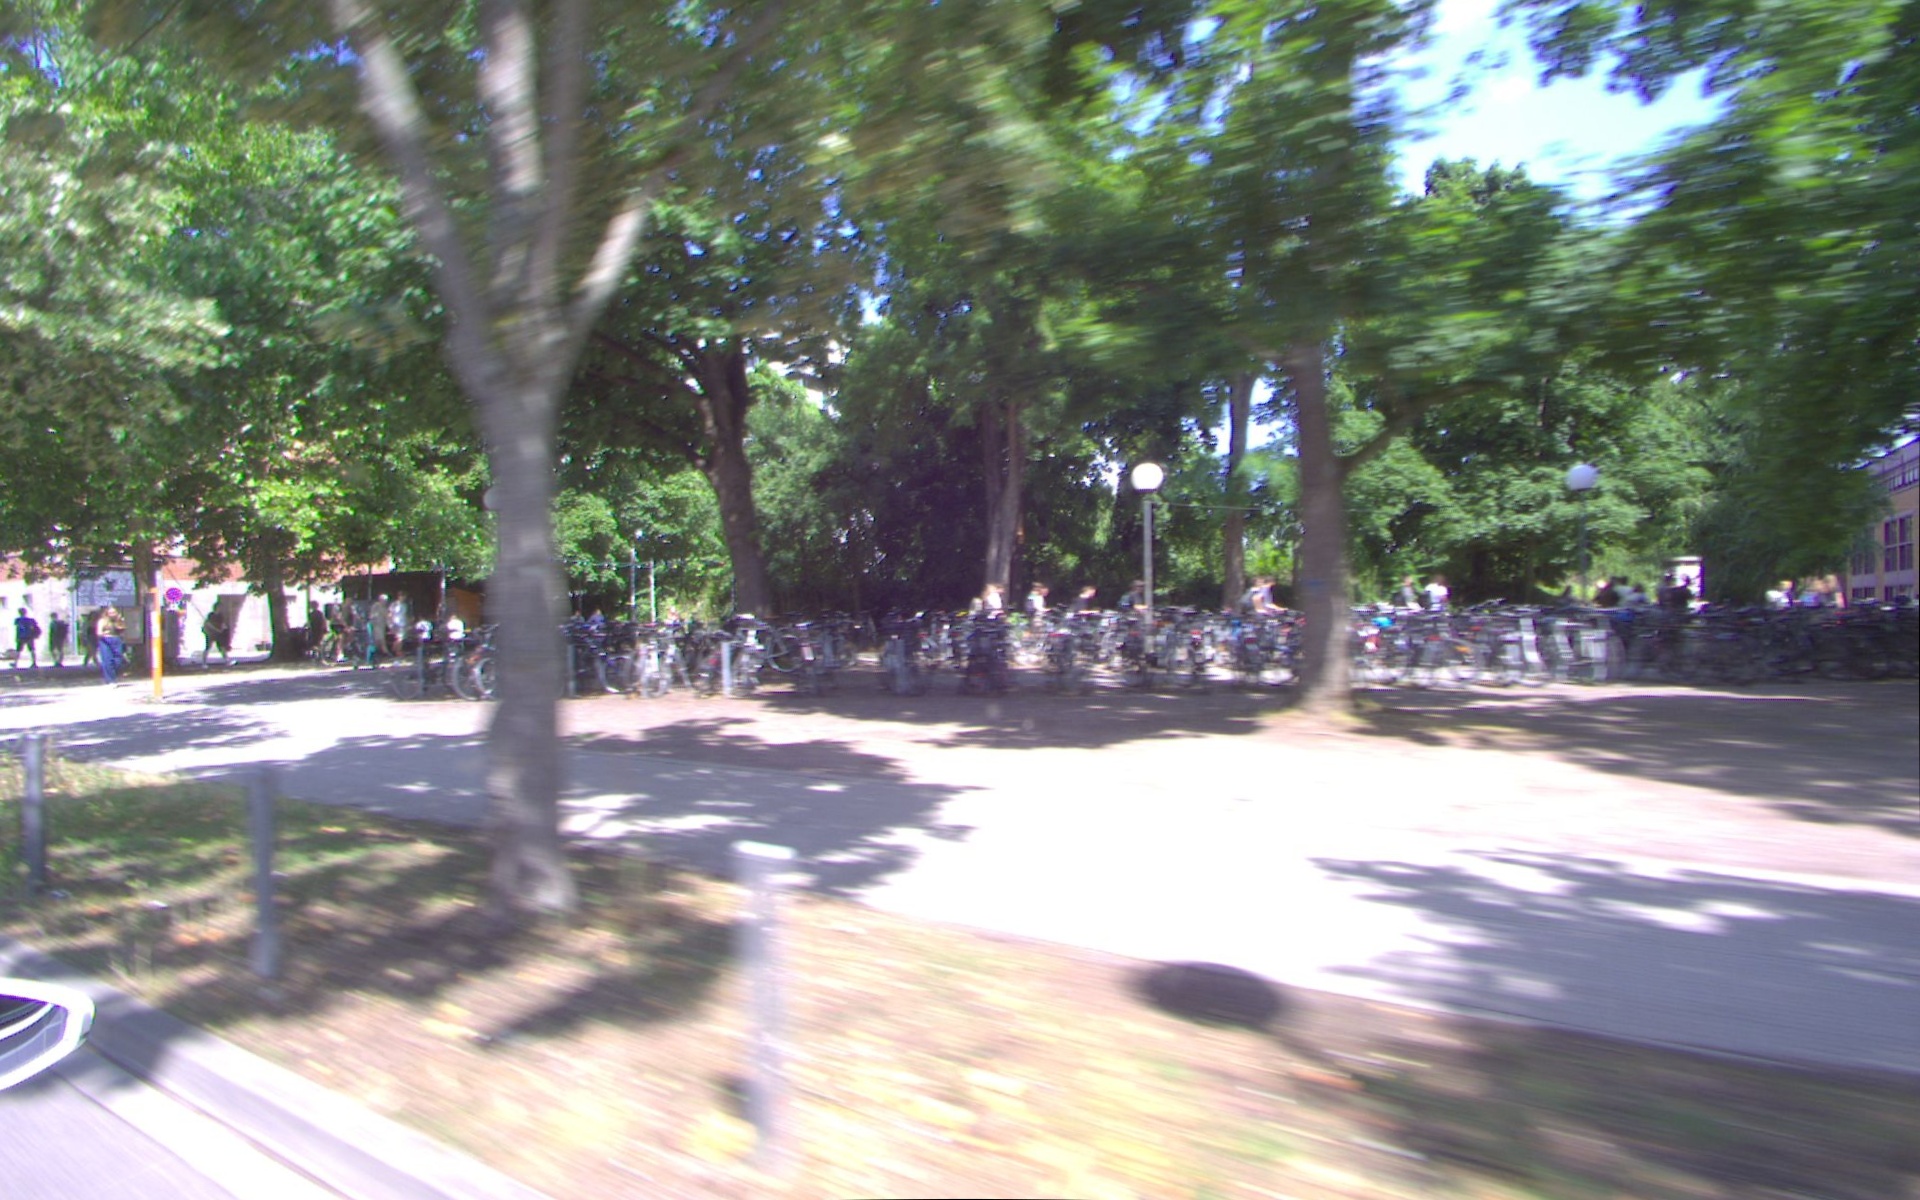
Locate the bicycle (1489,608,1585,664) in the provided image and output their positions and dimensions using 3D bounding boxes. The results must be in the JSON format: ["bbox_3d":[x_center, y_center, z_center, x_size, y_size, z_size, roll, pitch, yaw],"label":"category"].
[{"bbox_3d":[10.967,0.659,19.103,0.469,0.992,1.902,-2,1,-11],"label":"bicycle"}]

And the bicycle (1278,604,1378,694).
[{"bbox_3d":[5.166,0.646,14.188,0.339,1.186,1.842,-1,0,-15],"label":"bicycle"}]

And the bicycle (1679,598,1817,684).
[{"bbox_3d":[11.506,0.566,14.698,0.406,1.186,1.844,-1,0,-6],"label":"bicycle"}]

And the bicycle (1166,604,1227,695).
[{"bbox_3d":[3.307,0.661,14.121,0.395,1.186,1.793,-1,0,-1],"label":"bicycle"}]

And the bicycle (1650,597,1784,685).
[{"bbox_3d":[10.917,0.561,14.517,0.381,1.186,1.844,-1,0,-6],"label":"bicycle"}]

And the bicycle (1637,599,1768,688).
[{"bbox_3d":[10.491,0.579,14.232,0.381,1.186,1.844,-1,0,-4],"label":"bicycle"}]

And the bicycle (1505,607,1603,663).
[{"bbox_3d":[11.337,0.649,19.171,0.469,0.992,1.902,-2,1,-11],"label":"bicycle"}]

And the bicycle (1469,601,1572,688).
[{"bbox_3d":[8.091,0.603,14.533,0.346,1.186,1.844,-1,0,-4],"label":"bicycle"}]

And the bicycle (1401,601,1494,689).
[{"bbox_3d":[7.013,0.614,14.490,0.339,1.186,1.844,-1,0,-4],"label":"bicycle"}]

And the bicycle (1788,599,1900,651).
[{"bbox_3d":[17.936,0.484,20.376,0.469,0.992,1.903,-2,1,-5],"label":"bicycle"}]

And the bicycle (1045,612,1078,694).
[{"bbox_3d":[1.459,0.732,14.524,0.418,1.084,1.793,-1,0,4],"label":"bicycle"}]

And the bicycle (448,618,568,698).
[{"bbox_3d":[-6.842,0.848,15.275,0.398,1.096,1.945,0,0,21],"label":"bicycle"}]

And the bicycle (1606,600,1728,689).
[{"bbox_3d":[10.103,0.596,14.382,0.346,1.186,1.844,-1,0,-4],"label":"bicycle"}]

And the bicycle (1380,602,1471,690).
[{"bbox_3d":[6.682,0.625,14.467,0.339,1.186,1.844,-1,0,-4],"label":"bicycle"}]

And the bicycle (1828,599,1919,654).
[{"bbox_3d":[19.010,0.545,20.757,0.471,1.097,1.467,2,-2,-24],"label":"bicycle"}]

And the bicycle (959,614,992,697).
[{"bbox_3d":[0.233,0.763,14.342,0.418,1.084,1.793,-1,0,2],"label":"bicycle"}]

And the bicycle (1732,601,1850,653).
[{"bbox_3d":[16.793,0.519,20.300,0.470,0.992,1.900,-2,1,-17],"label":"bicycle"}]

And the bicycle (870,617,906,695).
[{"bbox_3d":[-1.044,0.787,14.712,0.374,1.042,1.793,-1,0,1],"label":"bicycle"}]

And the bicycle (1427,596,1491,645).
[{"bbox_3d":[10.664,0.421,21.447,0.396,0.992,1.596,-2,1,-7],"label":"bicycle"}]

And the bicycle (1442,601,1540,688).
[{"bbox_3d":[7.716,0.613,14.629,0.346,1.186,1.844,-1,0,-4],"label":"bicycle"}]

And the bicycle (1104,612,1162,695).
[{"bbox_3d":[2.454,0.728,14.320,0.418,1.084,1.793,-1,0,-3],"label":"bicycle"}]

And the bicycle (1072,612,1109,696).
[{"bbox_3d":[1.842,0.734,14.213,0.418,1.084,1.793,-1,0,4],"label":"bicycle"}]

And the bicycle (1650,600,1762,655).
[{"bbox_3d":[14.457,0.503,19.468,0.470,0.992,1.902,-2,1,-12],"label":"bicycle"}]

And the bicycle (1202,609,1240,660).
[{"bbox_3d":[5.461,0.701,21.043,0.371,0.992,1.903,-1,1,3],"label":"bicycle"}]

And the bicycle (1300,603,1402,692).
[{"bbox_3d":[5.524,0.632,14.271,0.339,1.186,1.842,-1,0,-15],"label":"bicycle"}]

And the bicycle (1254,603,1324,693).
[{"bbox_3d":[4.656,0.638,14.267,0.339,1.186,1.845,-1,0,-1],"label":"bicycle"}]

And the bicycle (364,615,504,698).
[{"bbox_3d":[-8.226,0.850,15.762,0.640,1.182,2.016,0,0,21],"label":"bicycle"}]

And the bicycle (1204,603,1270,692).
[{"bbox_3d":[3.942,0.644,14.369,0.395,1.186,1.845,-1,0,-1],"label":"bicycle"}]

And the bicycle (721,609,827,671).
[{"bbox_3d":[-3.452,0.736,18.584,1.868,1.097,0.478,-1,1,12],"label":"bicycle"}]

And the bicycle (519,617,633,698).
[{"bbox_3d":[-5.726,0.833,15.069,0.398,1.096,1.945,0,0,21],"label":"bicycle"}]

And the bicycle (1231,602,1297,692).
[{"bbox_3d":[4.309,0.633,14.277,0.339,1.186,1.845,-1,0,-1],"label":"bicycle"}]

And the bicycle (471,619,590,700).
[{"bbox_3d":[-6.444,0.859,15.129,0.398,1.096,1.945,0,0,21],"label":"bicycle"}]

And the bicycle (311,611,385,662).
[{"bbox_3d":[-15.841,0.944,25.919,1.705,1.270,0.530,-1,2,12],"label":"bicycle"}]

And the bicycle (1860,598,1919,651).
[{"bbox_3d":[20.025,0.527,21.268,0.445,1.097,1.472,1,-2,-2],"label":"bicycle"}]

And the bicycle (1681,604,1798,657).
[{"bbox_3d":[15.390,0.579,19.827,0.470,0.992,1.900,-2,1,-17],"label":"bicycle"}]

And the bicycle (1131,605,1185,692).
[{"bbox_3d":[2.894,0.673,14.752,0.395,1.186,1.793,-1,0,-1],"label":"bicycle"}]

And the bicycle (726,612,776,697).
[{"bbox_3d":[-3.103,0.775,14.988,0.485,1.170,1.738,-1,0,-4],"label":"bicycle"}]

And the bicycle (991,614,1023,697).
[{"bbox_3d":[0.665,0.751,14.329,0.418,1.084,1.793,-1,0,2],"label":"bicycle"}]

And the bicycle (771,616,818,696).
[{"bbox_3d":[-2.399,0.781,14.633,0.485,1.066,1.738,-1,0,-4],"label":"bicycle"}]

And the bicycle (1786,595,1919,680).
[{"bbox_3d":[13.334,0.527,14.906,0.406,1.186,1.844,-1,0,-6],"label":"bicycle"}]

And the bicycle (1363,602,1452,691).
[{"bbox_3d":[6.407,0.630,14.428,0.339,1.186,1.844,-1,0,-4],"label":"bicycle"}]

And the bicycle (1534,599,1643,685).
[{"bbox_3d":[9.209,0.583,14.749,0.346,1.186,1.844,-1,0,-4],"label":"bicycle"}]

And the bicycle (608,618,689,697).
[{"bbox_3d":[-4.667,0.836,15.124,0.319,1.073,1.912,0,0,9],"label":"bicycle"}]

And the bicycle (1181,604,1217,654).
[{"bbox_3d":[5.054,0.595,21.243,0.371,0.992,1.903,-1,1,3],"label":"bicycle"}]

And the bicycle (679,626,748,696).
[{"bbox_3d":[-3.603,0.876,14.779,0.485,0.921,1.738,-1,0,3],"label":"bicycle"}]

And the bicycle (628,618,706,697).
[{"bbox_3d":[-4.369,0.829,15.061,0.319,1.073,1.912,0,0,9],"label":"bicycle"}]

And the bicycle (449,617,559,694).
[{"bbox_3d":[-7.091,0.840,15.666,0.431,1.096,1.769,0,0,21],"label":"bicycle"}]

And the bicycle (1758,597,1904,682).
[{"bbox_3d":[12.850,0.550,14.847,0.406,1.186,1.844,-1,0,-6],"label":"bicycle"}]

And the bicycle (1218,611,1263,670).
[{"bbox_3d":[5.228,0.725,18.712,0.371,0.992,1.903,-1,1,3],"label":"bicycle"}]

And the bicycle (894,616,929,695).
[{"bbox_3d":[-0.694,0.778,14.607,0.374,1.042,1.793,-1,0,1],"label":"bicycle"}]

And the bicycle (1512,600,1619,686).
[{"bbox_3d":[8.858,0.594,14.719,0.346,1.186,1.844,-1,0,-4],"label":"bicycle"}]

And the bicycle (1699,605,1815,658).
[{"bbox_3d":[15.949,0.605,20.107,0.470,0.992,1.900,-2,1,-17],"label":"bicycle"}]

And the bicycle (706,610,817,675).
[{"bbox_3d":[-3.533,0.754,17.849,1.868,1.097,0.478,-1,1,12],"label":"bicycle"}]

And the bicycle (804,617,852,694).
[{"bbox_3d":[-1.933,0.788,14.816,0.432,1.042,1.796,-1,0,1],"label":"bicycle"}]
